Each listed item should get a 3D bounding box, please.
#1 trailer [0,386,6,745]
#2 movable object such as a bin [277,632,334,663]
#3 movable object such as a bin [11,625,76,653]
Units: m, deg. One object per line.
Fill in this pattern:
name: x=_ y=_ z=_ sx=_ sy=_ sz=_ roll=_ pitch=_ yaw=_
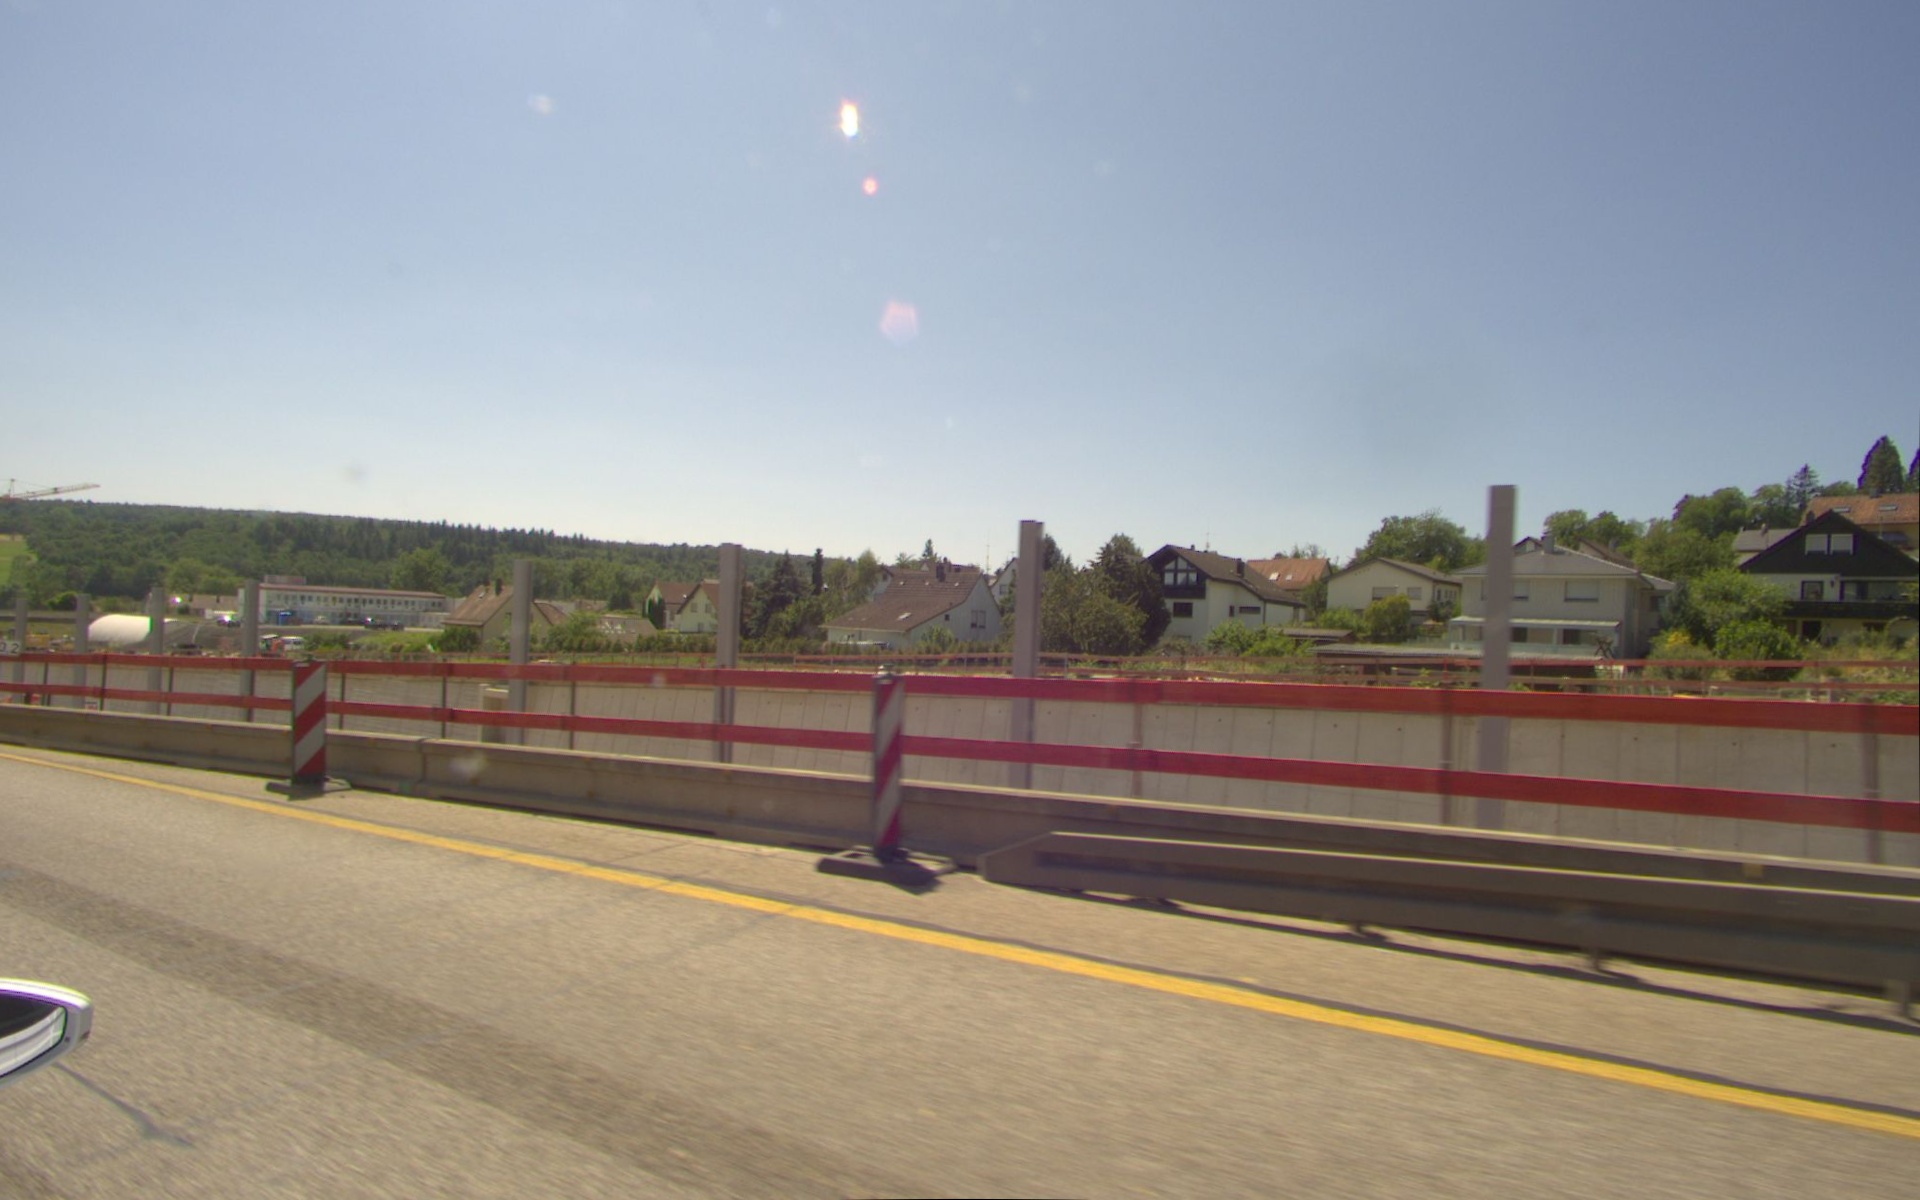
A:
trailer: x=-17.605 y=-0.270 z=13.970 sx=13.913 sy=4.110 sz=2.797 roll=-2 pitch=-2 yaw=32
movable object such as a bin: x=-48.339 y=3.480 z=73.955 sx=4.093 sy=2.267 sz=1.990 roll=-1 pitch=-2 yaw=33
movable object such as a bin: x=-98.896 y=4.190 z=108.025 sx=9.345 sy=2.946 sz=2.882 roll=-1 pitch=-2 yaw=33
